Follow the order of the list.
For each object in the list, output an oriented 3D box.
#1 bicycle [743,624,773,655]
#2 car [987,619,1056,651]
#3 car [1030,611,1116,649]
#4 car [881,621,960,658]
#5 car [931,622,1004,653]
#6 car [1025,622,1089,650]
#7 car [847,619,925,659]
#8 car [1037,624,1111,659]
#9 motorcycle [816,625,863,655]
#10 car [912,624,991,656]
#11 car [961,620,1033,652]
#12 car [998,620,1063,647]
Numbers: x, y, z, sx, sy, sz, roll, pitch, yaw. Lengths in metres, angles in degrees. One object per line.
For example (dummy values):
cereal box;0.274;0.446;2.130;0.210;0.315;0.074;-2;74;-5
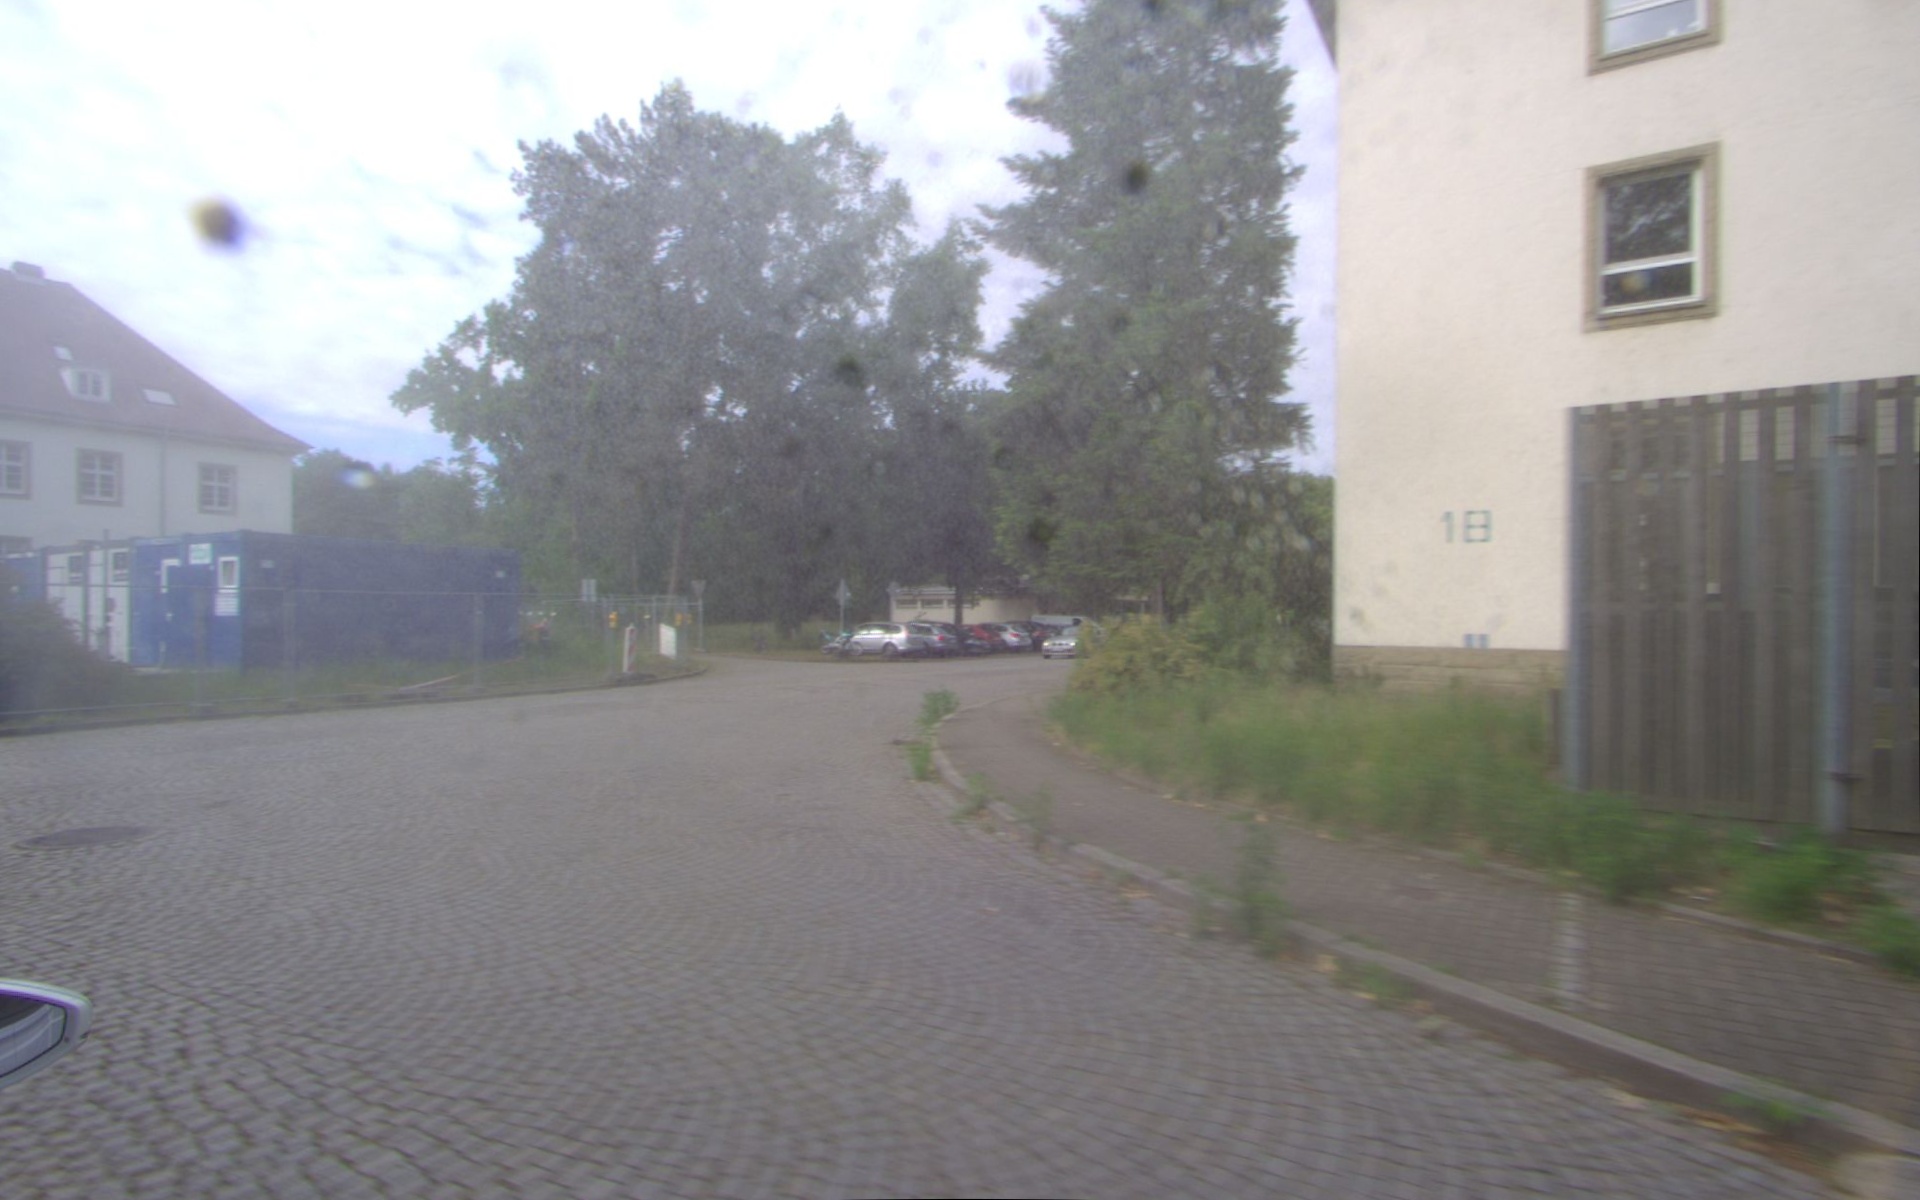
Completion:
bicycle;-7.938;1.541;39.320;0.508;1.182;1.792;0;-1;-35
car;3.296;1.851;53.527;3.312;1.533;1.560;2;0;27
car;6.785;1.764;60.282;4.884;2.017;1.690;2;0;32
car;-1.766;1.721;44.334;3.167;1.467;1.386;2;0;23
car;0.349;1.840;49.507;3.315;1.379;1.441;2;0;31
car;5.623;2.048;57.836;3.312;1.425;1.560;2;0;27
car;-3.131;1.632;42.466;2.974;1.508;1.319;2;0;23
car;4.860;1.717;42.146;1.583;1.363;4.276;-2;-2;29
motorcycle;-4.909;1.608;40.744;1.933;1.180;0.516;0;0;26
car;-0.388;1.839;46.759;3.309;1.338;1.637;2;0;23
car;1.882;1.829;50.953;3.310;1.462;1.561;2;0;24
car;3.921;1.856;55.869;3.312;1.336;1.469;2;0;27
